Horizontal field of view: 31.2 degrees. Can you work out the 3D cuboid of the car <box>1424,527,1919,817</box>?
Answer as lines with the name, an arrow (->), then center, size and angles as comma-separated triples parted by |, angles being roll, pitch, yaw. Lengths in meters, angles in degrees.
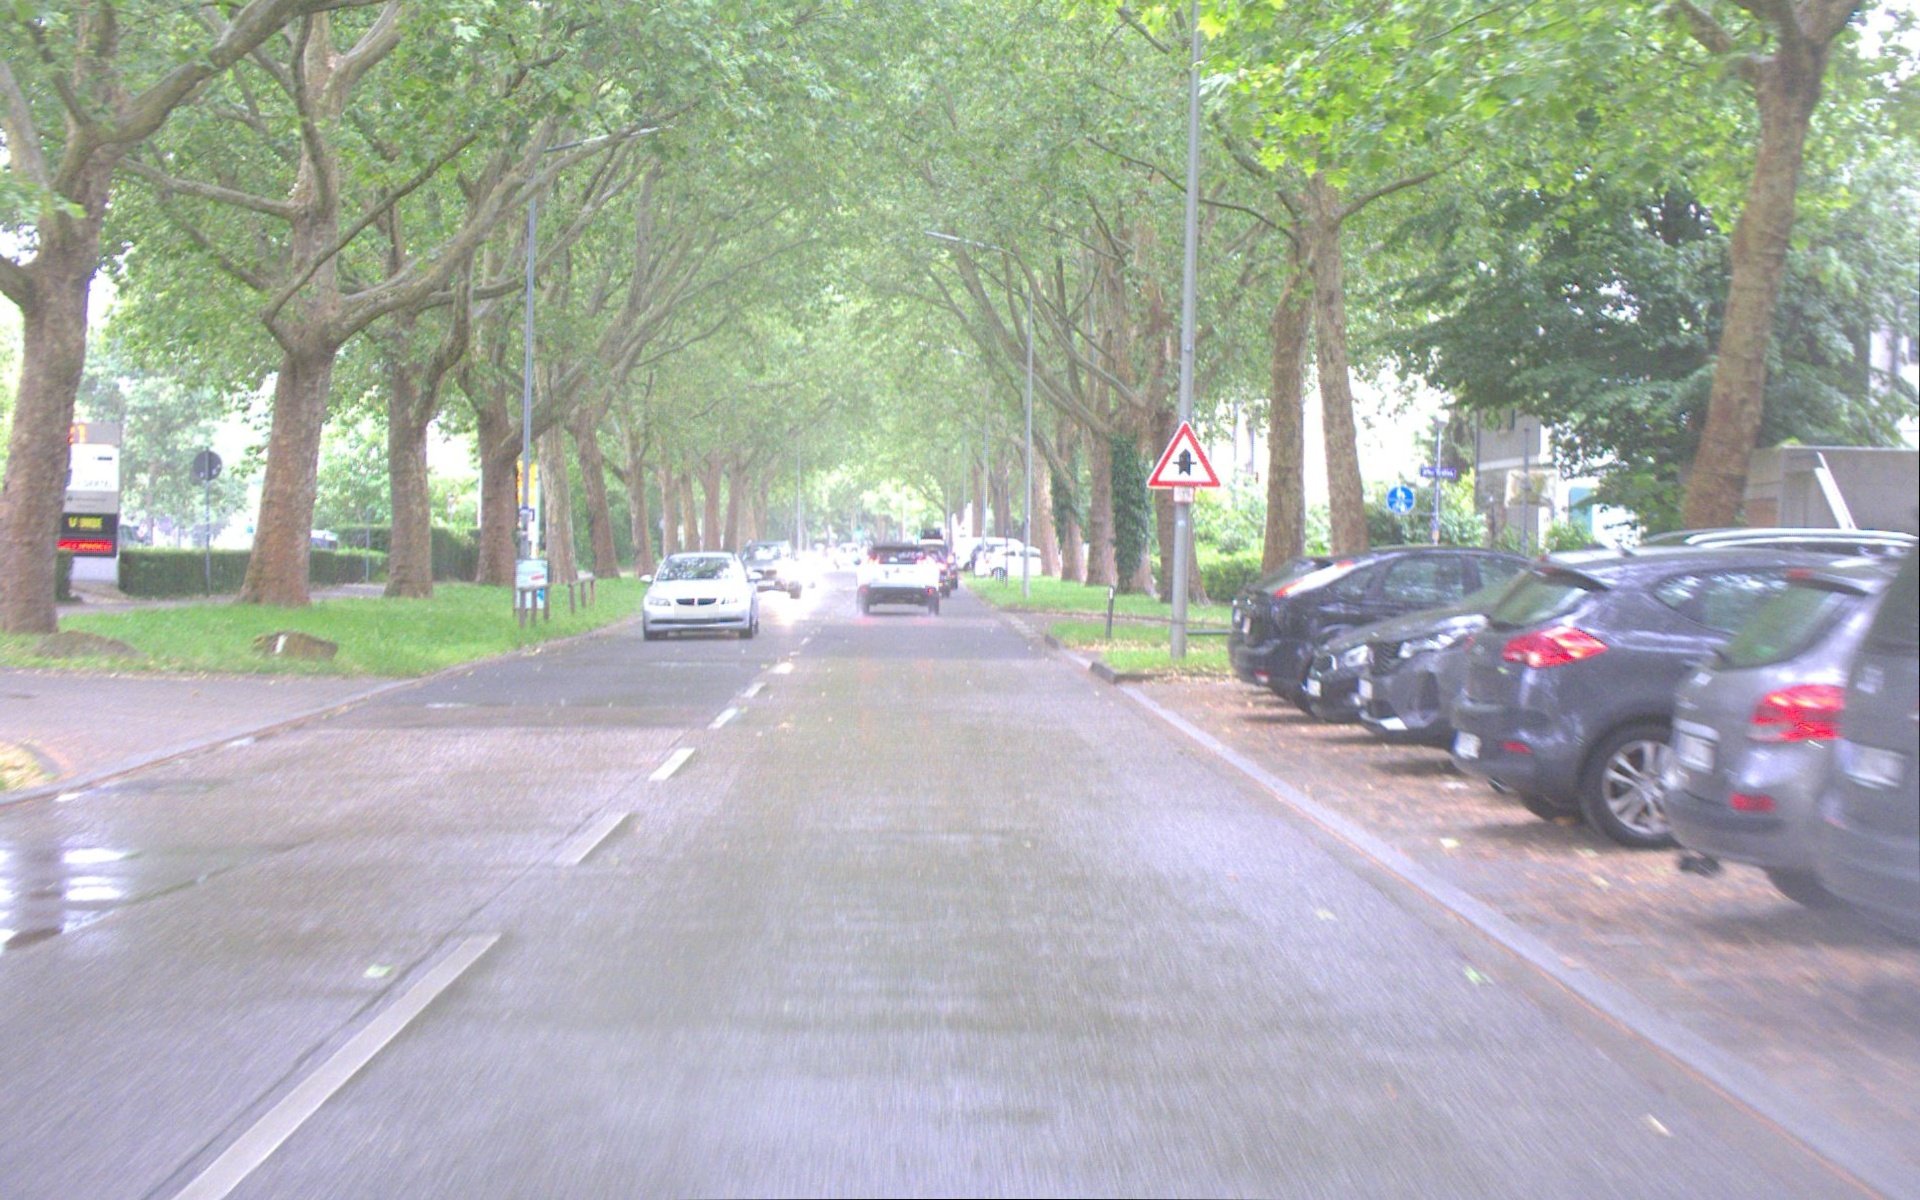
car -> 5.016, 0.410, 20.348 | 4.209, 1.578, 1.747 | 1, 2, -3

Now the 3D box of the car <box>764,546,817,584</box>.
car -> -5.898, -1.235, 119.758 | 1.706, 1.246, 3.645 | -1, 2, -1

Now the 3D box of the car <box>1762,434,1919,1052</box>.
car -> 4.899, 0.451, 10.648 | 4.337, 1.756, 1.819 | 2, 1, 0

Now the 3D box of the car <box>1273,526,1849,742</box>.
car -> 4.559, 0.237, 26.473 | 4.041, 1.525, 1.781 | 1, 2, -3

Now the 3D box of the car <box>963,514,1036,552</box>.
car -> 1.994, -3.384, 174.061 | 3.546, 1.835, 1.712 | -1, 2, -2

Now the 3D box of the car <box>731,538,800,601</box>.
car -> -5.557, -0.896, 98.535 | 1.809, 1.678, 4.449 | -1, 2, -1

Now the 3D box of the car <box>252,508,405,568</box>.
car -> -18.026, -1.783, 98.230 | 3.987, 1.617, 2.000 | 1, 1, 0

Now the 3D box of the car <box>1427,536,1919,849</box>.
car -> 4.560, 0.416, 17.551 | 4.035, 1.436, 1.686 | -1, 2, -3

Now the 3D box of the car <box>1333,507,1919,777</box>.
car -> 4.723, 0.250, 22.875 | 4.210, 1.650, 1.914 | 1, 2, -1

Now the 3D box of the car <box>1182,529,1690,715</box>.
car -> 4.027, 0.163, 29.606 | 4.100, 1.508, 1.865 | 0, 1, 0

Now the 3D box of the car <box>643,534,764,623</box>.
car -> -4.206, -0.388, 56.888 | 1.678, 1.384, 4.549 | 0, 2, 0

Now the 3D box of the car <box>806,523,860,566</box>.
car -> -4.285, -1.894, 116.564 | 1.706, 1.406, 3.645 | -1, 2, -1

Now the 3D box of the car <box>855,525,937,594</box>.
car -> -1.366, -0.899, 74.185 | 1.706, 1.406, 3.645 | -1, 2, -1

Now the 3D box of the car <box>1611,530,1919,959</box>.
car -> 4.712, 0.567, 13.386 | 3.987, 1.532, 1.631 | 2, 1, 0

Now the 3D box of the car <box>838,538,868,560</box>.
car -> -6.675, -3.207, 215.285 | 1.720, 1.250, 4.000 | 2, 2, 0
